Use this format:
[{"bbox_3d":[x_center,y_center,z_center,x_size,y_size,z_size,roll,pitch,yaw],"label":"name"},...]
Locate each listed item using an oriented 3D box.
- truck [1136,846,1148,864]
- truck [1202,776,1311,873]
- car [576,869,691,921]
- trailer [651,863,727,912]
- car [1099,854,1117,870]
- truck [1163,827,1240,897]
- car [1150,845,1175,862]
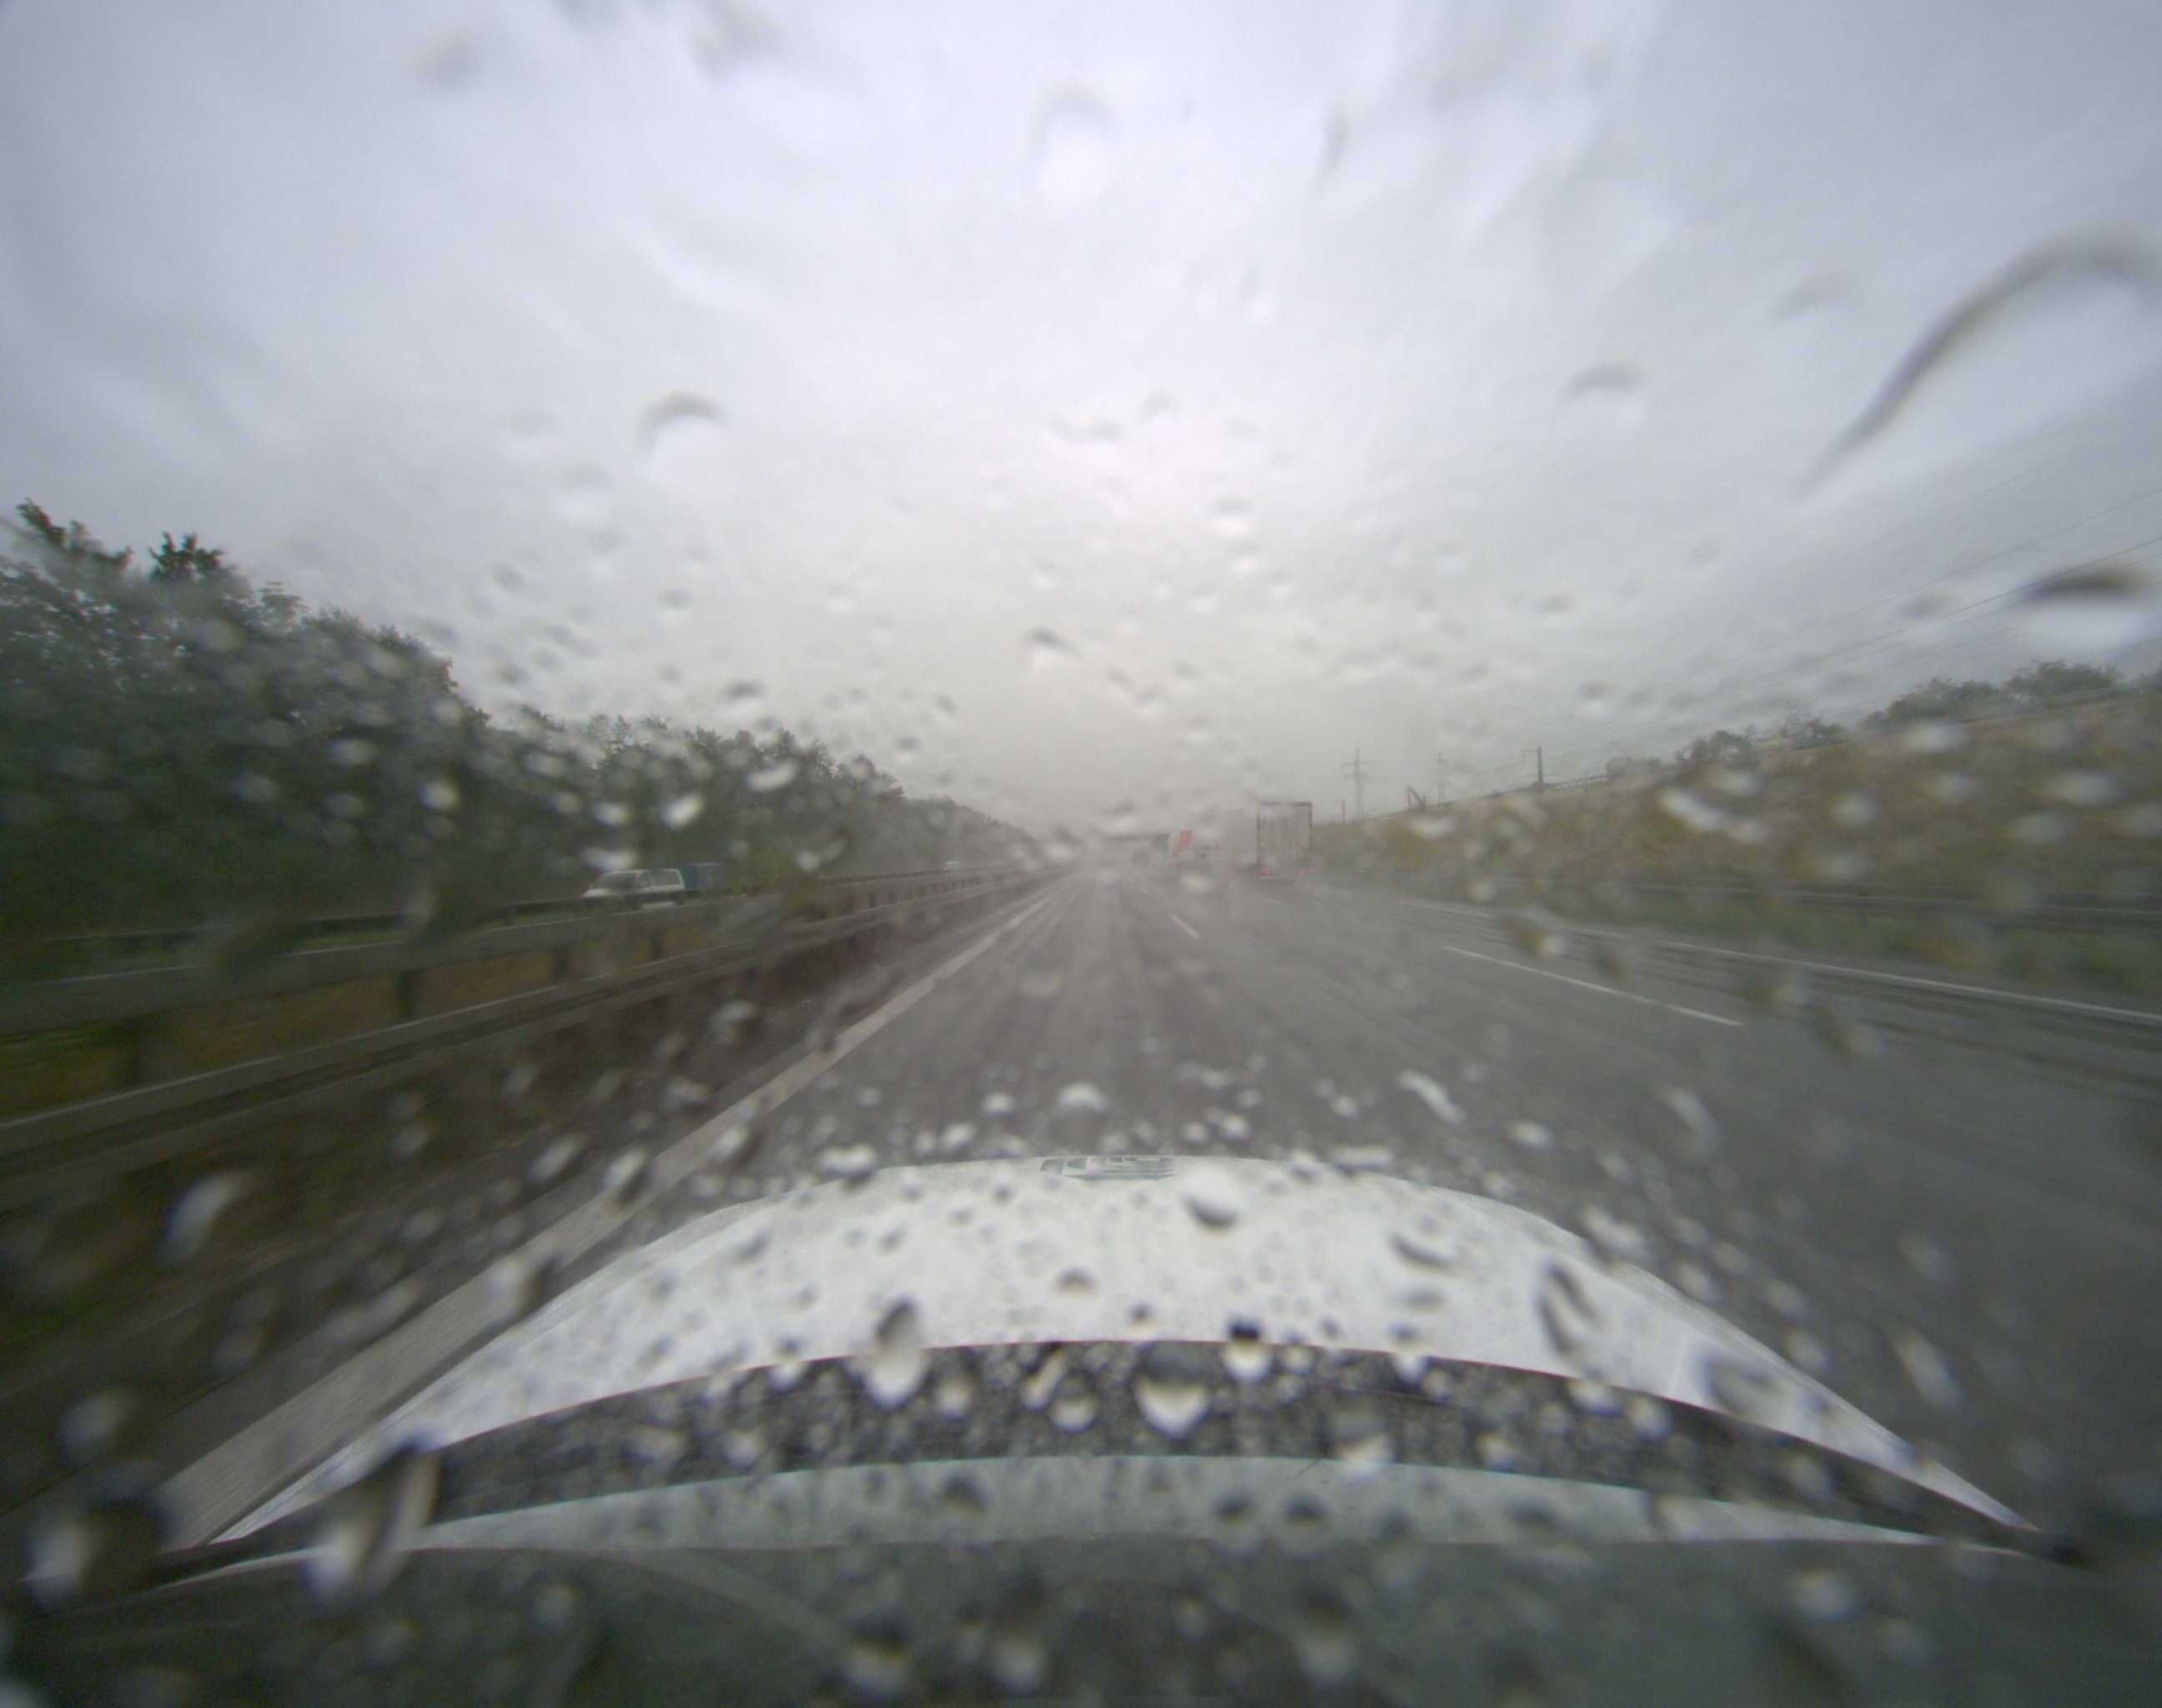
[{"bbox_3d":[12.327,0.236,164.406,2.102,3.516,5.248,0,1,0],"label":"truck"},{"bbox_3d":[9.583,-1.400,46.947,3.029,4.588,16.353,0,0,1],"label":"truck"},{"bbox_3d":[-17.623,1.563,32.370,1.875,1.814,4.724,0,0,1],"label":"car"},{"bbox_3d":[-17.626,1.456,36.784,1.410,2.013,4.019,0,1,1],"label":"trailer"},{"bbox_3d":[2.393,0.720,73.095,1.599,1.338,3.850,0,1,2],"label":"car"},{"bbox_3d":[4.546,0.236,31.696,2.410,2.492,5.564,0,1,2],"label":"truck"},{"bbox_3d":[10.268,-0.108,102.931,2.778,2.013,4.995,0,1,1],"label":"car"}]
